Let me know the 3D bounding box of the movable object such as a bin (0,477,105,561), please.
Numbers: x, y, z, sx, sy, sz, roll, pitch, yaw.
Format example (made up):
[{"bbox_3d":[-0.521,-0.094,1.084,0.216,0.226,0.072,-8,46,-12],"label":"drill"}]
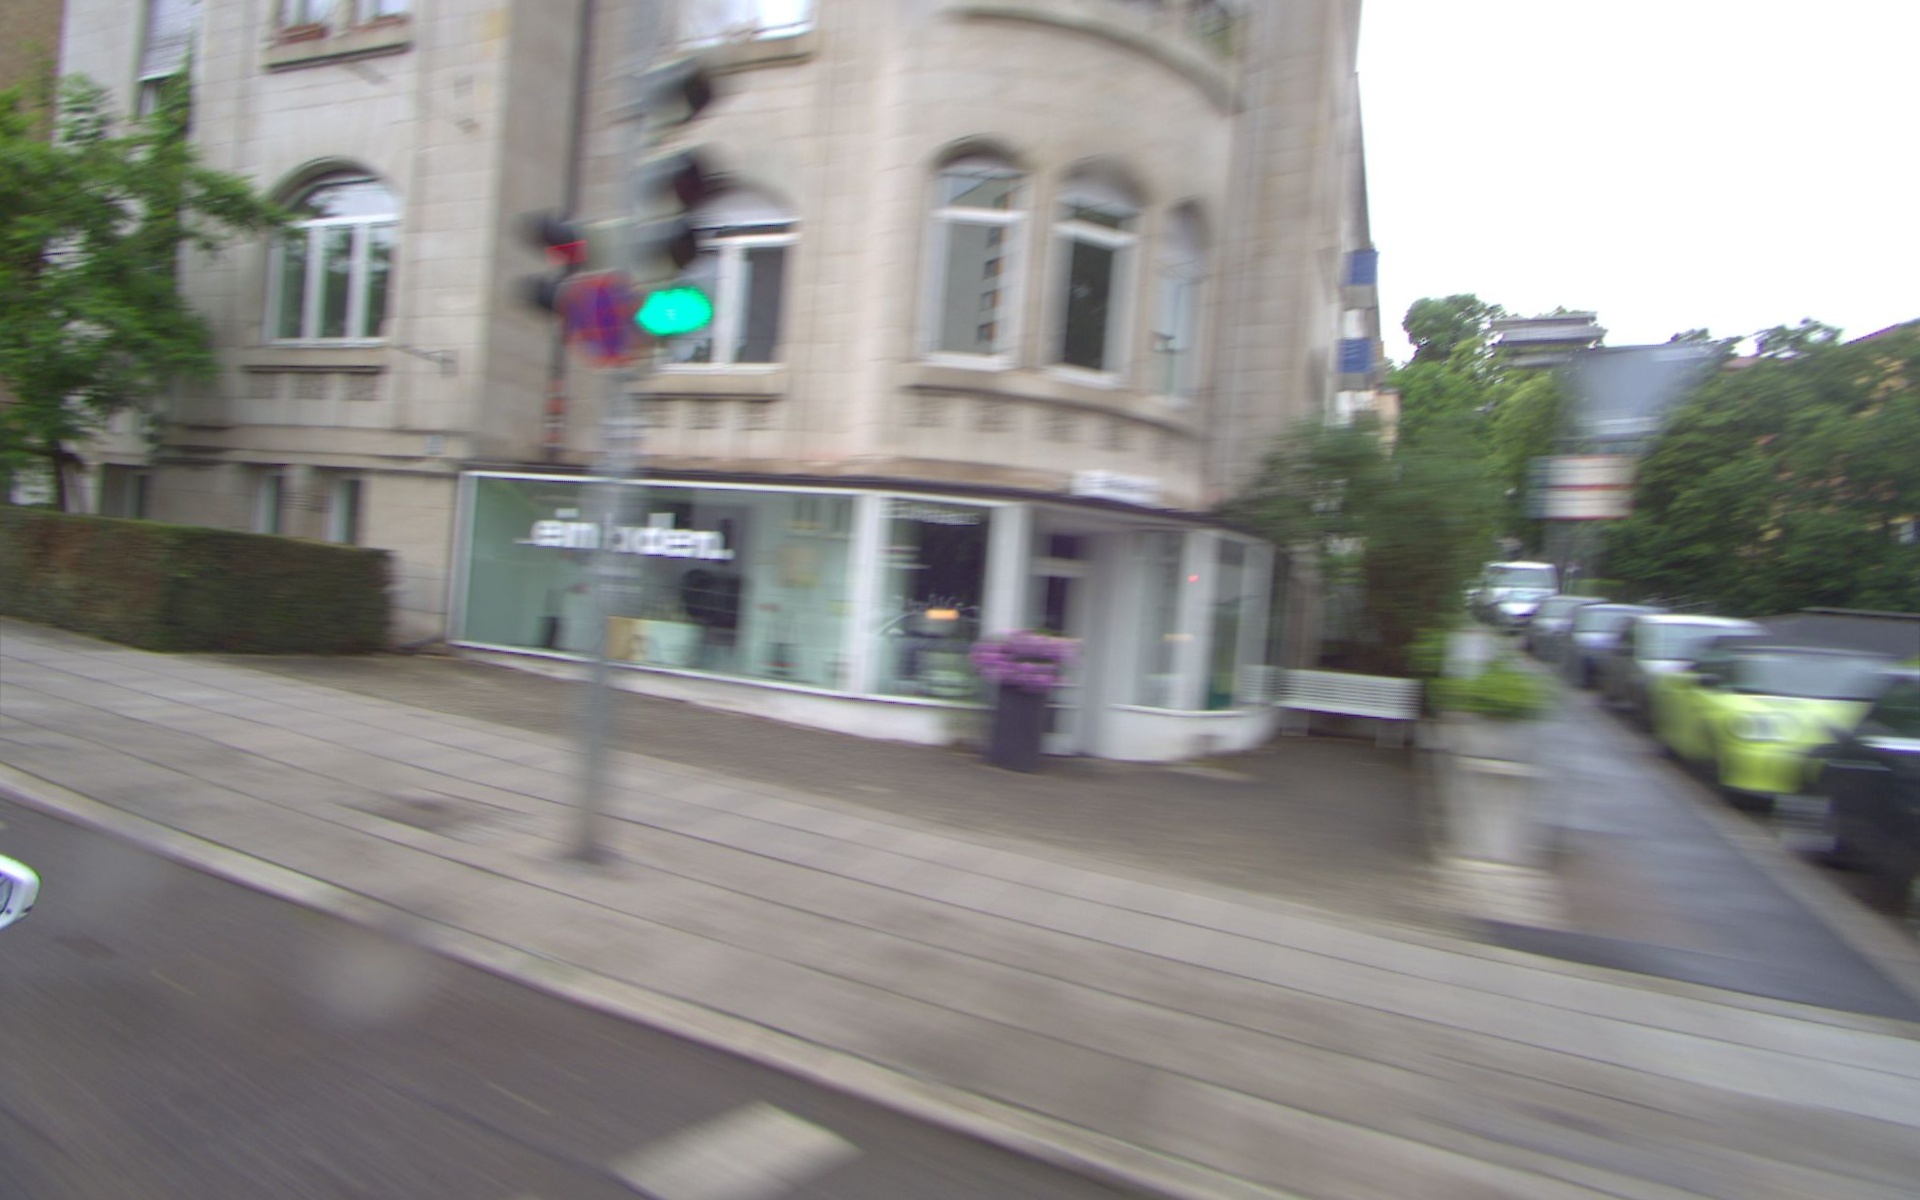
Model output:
[{"bbox_3d":[-17.807,-1.576,19.576,1.283,1.444,1.234,6,2,18],"label":"movable object such as a bin"}]

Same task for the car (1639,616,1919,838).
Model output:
[{"bbox_3d":[7.807,1.022,9.516,1.707,1.529,3.661,6,3,27],"label":"car"}]

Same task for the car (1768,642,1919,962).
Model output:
[{"bbox_3d":[6.190,1.152,5.660,1.707,1.529,3.661,6,3,27],"label":"car"}]

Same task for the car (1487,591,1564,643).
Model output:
[{"bbox_3d":[17.678,0.515,31.599,1.594,1.471,3.948,3,0,23],"label":"car"}]

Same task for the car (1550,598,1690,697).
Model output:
[{"bbox_3d":[11.971,0.767,18.471,1.596,1.528,3.886,2,2,26],"label":"car"}]

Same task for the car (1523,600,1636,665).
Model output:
[{"bbox_3d":[14.473,0.725,23.689,1.594,1.341,3.948,3,0,23],"label":"car"}]

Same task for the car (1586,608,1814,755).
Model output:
[{"bbox_3d":[9.938,0.977,13.836,1.594,1.529,3.764,3,3,23],"label":"car"}]

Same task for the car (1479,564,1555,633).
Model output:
[{"bbox_3d":[20.054,-0.031,36.368,1.798,2.303,4.630,3,1,23],"label":"car"}]
